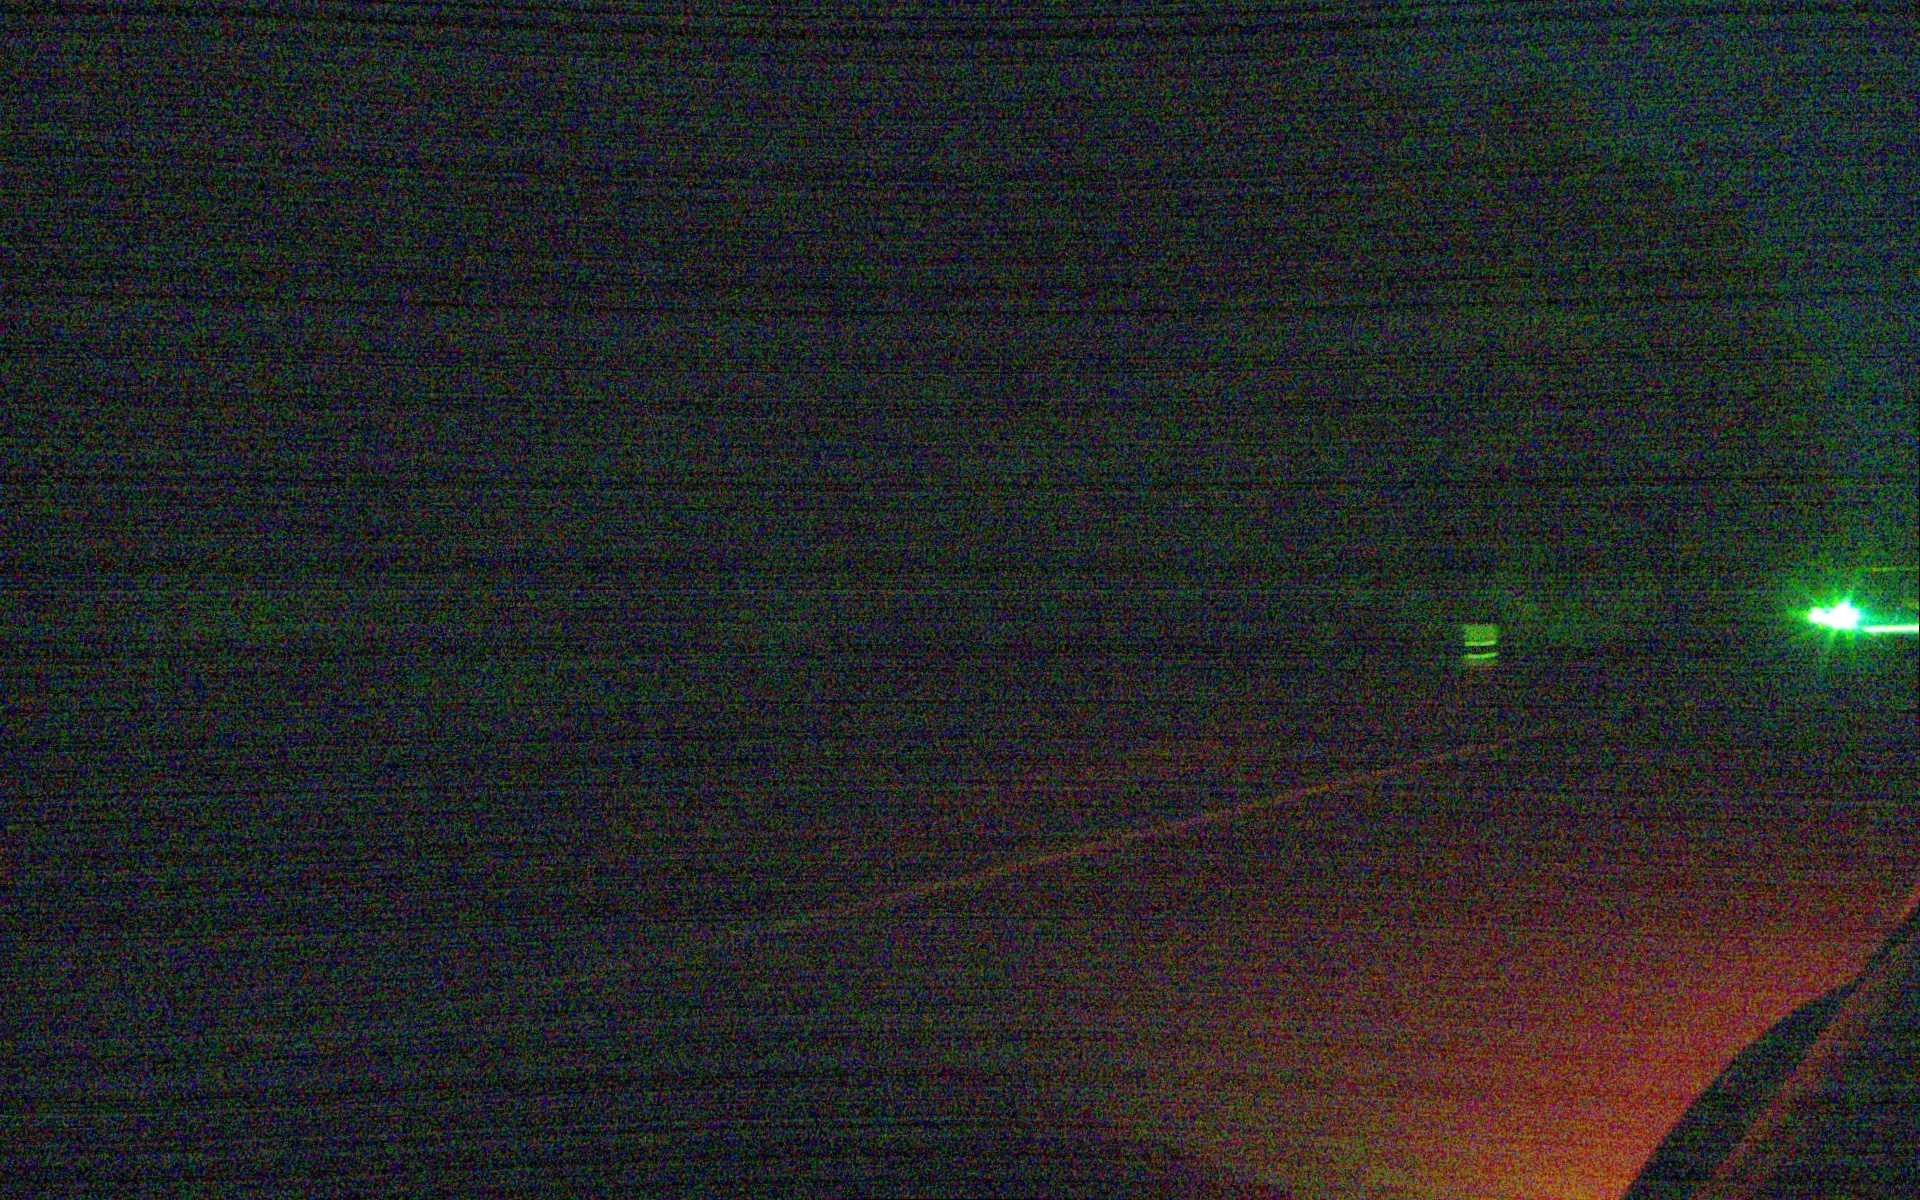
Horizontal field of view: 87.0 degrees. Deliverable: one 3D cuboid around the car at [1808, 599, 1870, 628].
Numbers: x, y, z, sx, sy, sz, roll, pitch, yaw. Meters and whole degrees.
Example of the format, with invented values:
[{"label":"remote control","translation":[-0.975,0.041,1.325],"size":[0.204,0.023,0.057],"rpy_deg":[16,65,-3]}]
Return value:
[{"label":"car","translation":[60.353,0.923,69.580],"size":[1.977,1.877,3.967],"rpy_deg":[-4,-2,23]}]
